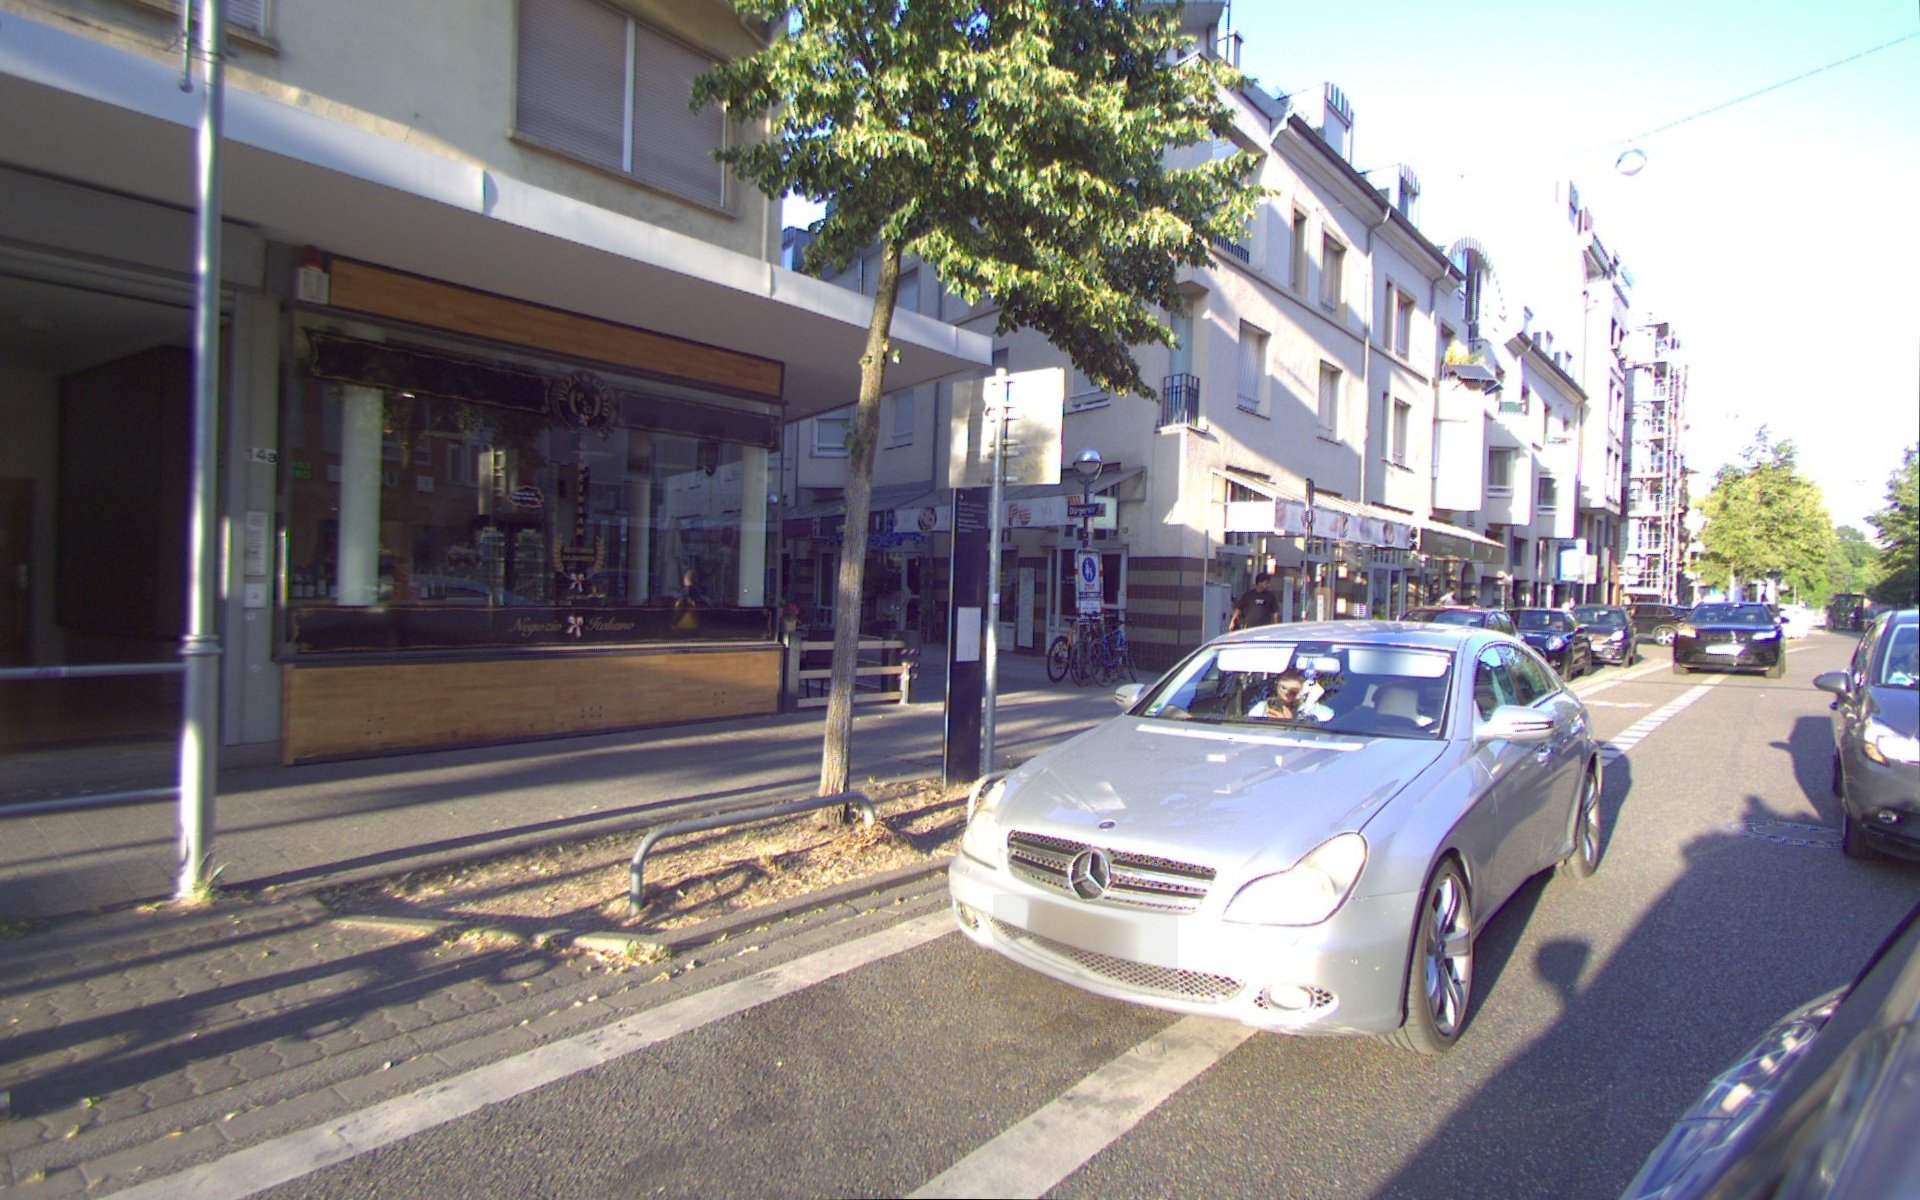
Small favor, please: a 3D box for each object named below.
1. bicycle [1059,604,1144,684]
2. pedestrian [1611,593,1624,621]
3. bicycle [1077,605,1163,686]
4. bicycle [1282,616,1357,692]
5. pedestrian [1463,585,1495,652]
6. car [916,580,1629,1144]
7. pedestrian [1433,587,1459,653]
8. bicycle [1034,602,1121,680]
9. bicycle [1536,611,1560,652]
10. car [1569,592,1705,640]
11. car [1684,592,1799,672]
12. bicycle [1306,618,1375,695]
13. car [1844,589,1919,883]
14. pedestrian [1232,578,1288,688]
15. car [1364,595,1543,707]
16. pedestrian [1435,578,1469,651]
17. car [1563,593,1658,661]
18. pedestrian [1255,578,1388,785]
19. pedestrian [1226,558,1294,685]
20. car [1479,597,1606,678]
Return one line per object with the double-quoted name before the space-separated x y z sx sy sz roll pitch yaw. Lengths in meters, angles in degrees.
"bicycle" 2.171 0.634 15.315 0.290 1.118 1.859 2 1 41
"pedestrian" 30.650 0.325 47.187 0.490 1.279 0.415 0 0 39
"bicycle" 2.410 0.650 15.108 0.320 1.118 1.851 2 1 41
"bicycle" 5.483 0.791 15.373 0.314 1.059 1.853 3 2 43
"pedestrian" 12.883 0.440 25.131 0.519 1.612 0.402 5 3 41
"car" 1.963 0.662 5.037 1.740 1.418 4.573 1 3 40
"pedestrian" 13.698 0.553 28.520 0.574 1.823 0.443 0 0 42
"bicycle" 1.842 0.609 15.634 0.320 1.118 1.851 2 1 41
"bicycle" 16.279 0.852 28.011 0.295 1.099 1.441 1 1 41
"car" 27.256 0.613 40.828 1.707 1.696 4.285 1 1 -44
"car" 17.960 0.658 23.184 1.884 1.656 4.165 0 0 41
"bicycle" 5.682 0.813 15.057 0.314 1.059 1.638 3 2 43
"car" 6.487 0.696 6.151 1.616 1.492 3.634 0 0 41
"pedestrian" 5.046 0.537 17.005 0.629 1.771 0.660 3 2 41
"car" 7.784 0.695 15.790 1.587 1.451 3.868 4 2 40
"pedestrian" 12.367 0.362 25.436 0.543 1.779 0.495 5 3 41
"car" 17.218 0.652 26.730 1.615 1.612 3.868 2 1 40
"pedestrian" 3.147 0.682 8.875 0.688 1.696 0.799 2 2 -13
"pedestrian" 4.672 0.335 15.756 0.776 1.907 0.660 -2 -2 41
"car" 12.220 0.713 21.113 1.615 1.452 3.868 3 2 40
